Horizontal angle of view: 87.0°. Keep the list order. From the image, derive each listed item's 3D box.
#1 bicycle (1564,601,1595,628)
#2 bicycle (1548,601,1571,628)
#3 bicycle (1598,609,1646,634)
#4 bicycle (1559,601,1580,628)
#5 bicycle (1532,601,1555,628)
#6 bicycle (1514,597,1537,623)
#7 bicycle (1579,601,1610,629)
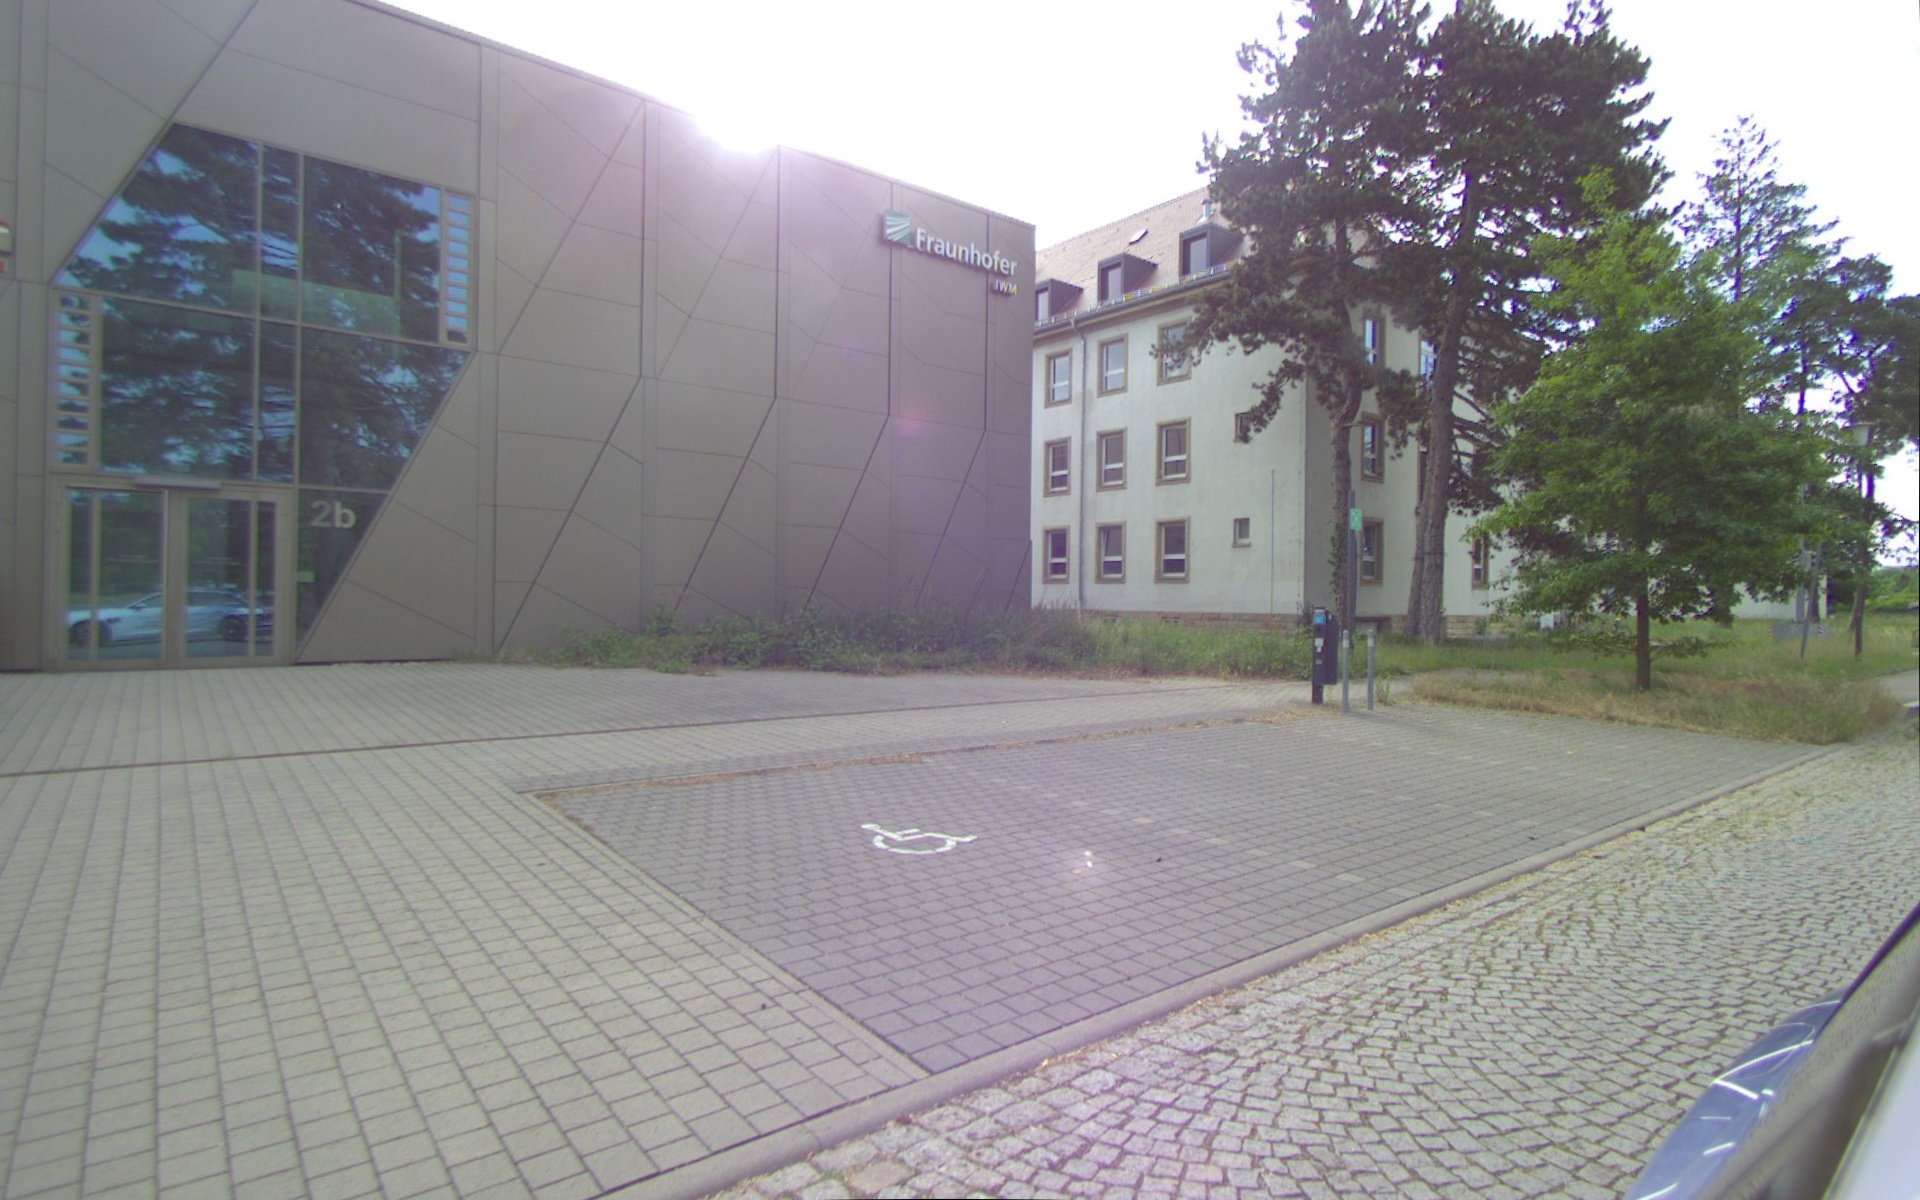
[{"bbox_3d":[31.093,0.723,50.751,1.801,1.349,0.573,1,0,-32],"label":"bicycle"},{"bbox_3d":[30.530,0.738,51.492,1.808,1.349,0.571,1,0,-45],"label":"bicycle"},{"bbox_3d":[31.370,1.007,47.958,0.562,1.098,1.838,-1,1,-35],"label":"bicycle"},{"bbox_3d":[30.792,0.731,51.147,1.808,1.349,0.481,1,0,-45],"label":"bicycle"},{"bbox_3d":[30.004,0.732,52.049,1.808,1.349,0.571,1,0,-45],"label":"bicycle"},{"bbox_3d":[29.432,0.528,52.684,1.808,1.349,0.571,1,0,-45],"label":"bicycle"},{"bbox_3d":[31.572,0.741,50.333,1.801,1.349,0.573,1,0,-32],"label":"bicycle"}]
